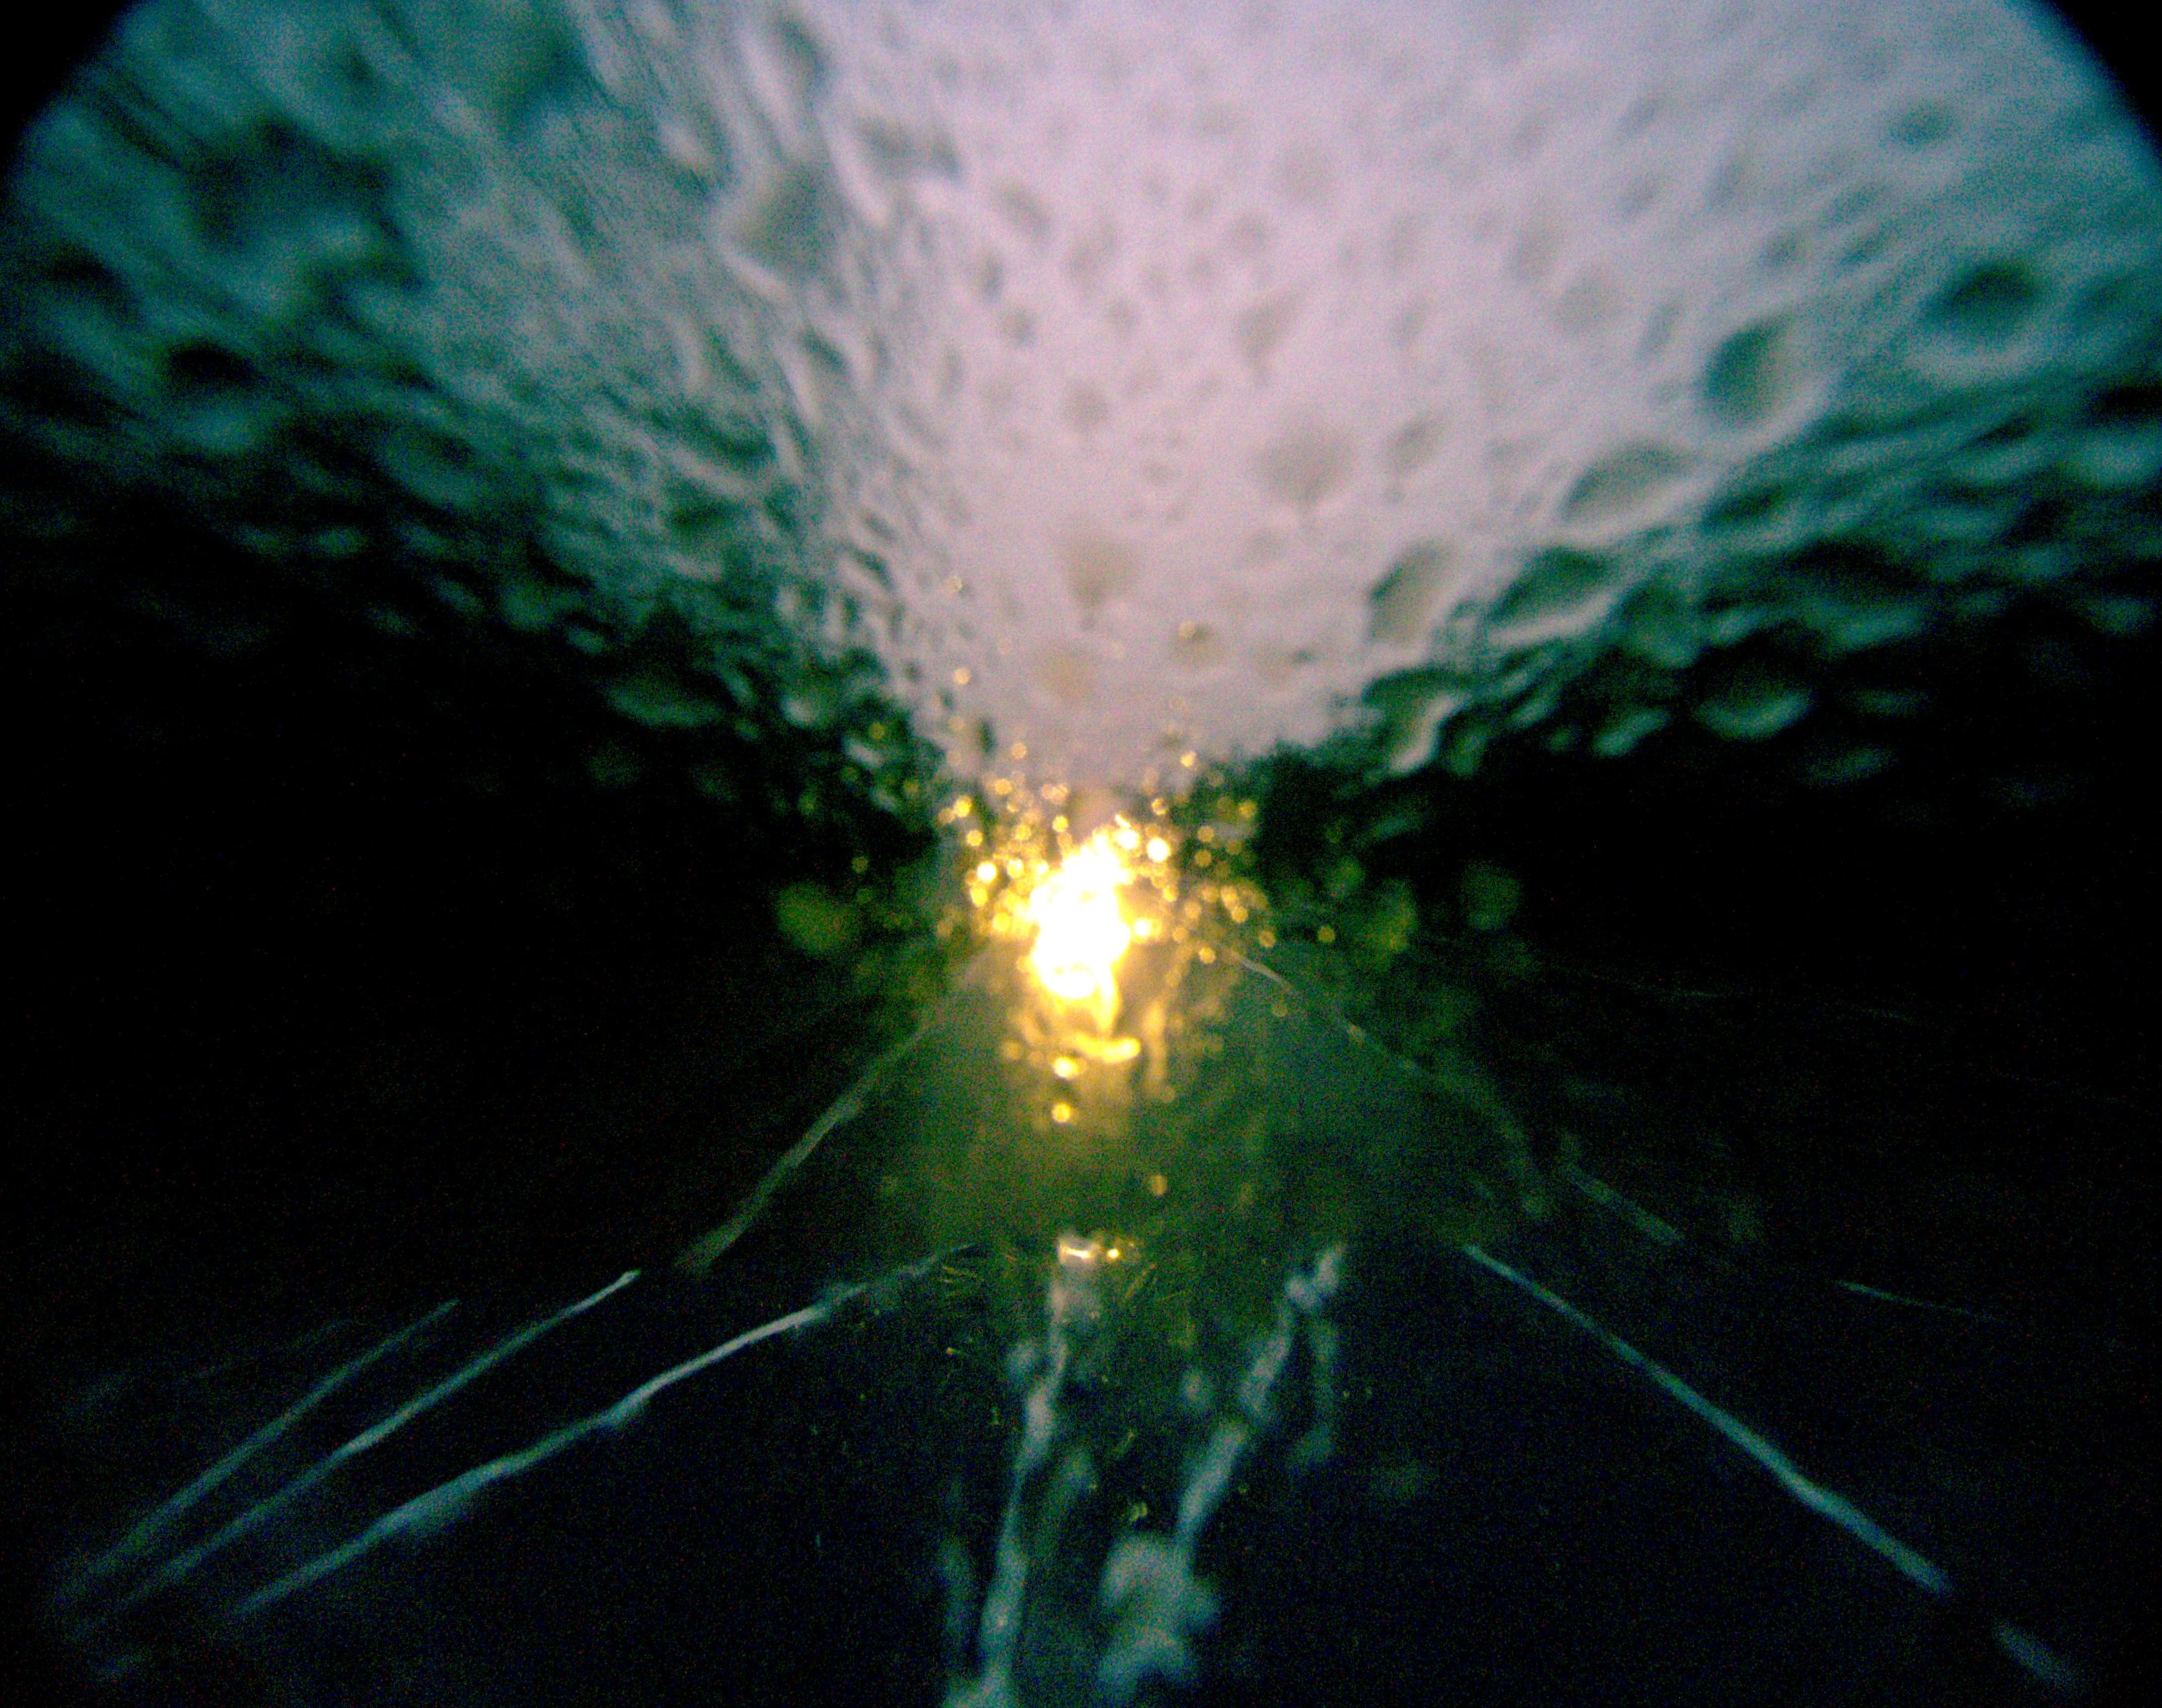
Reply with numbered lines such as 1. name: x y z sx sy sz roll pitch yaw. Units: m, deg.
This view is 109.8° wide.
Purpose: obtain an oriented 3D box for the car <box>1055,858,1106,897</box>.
1. car: -0.102 0.904 31.428 1.851 1.429 4.243 -1 0 -4

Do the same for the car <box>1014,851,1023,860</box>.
1. car: -13.082 0.329 159.224 1.702 1.721 3.996 -2 2 -8
